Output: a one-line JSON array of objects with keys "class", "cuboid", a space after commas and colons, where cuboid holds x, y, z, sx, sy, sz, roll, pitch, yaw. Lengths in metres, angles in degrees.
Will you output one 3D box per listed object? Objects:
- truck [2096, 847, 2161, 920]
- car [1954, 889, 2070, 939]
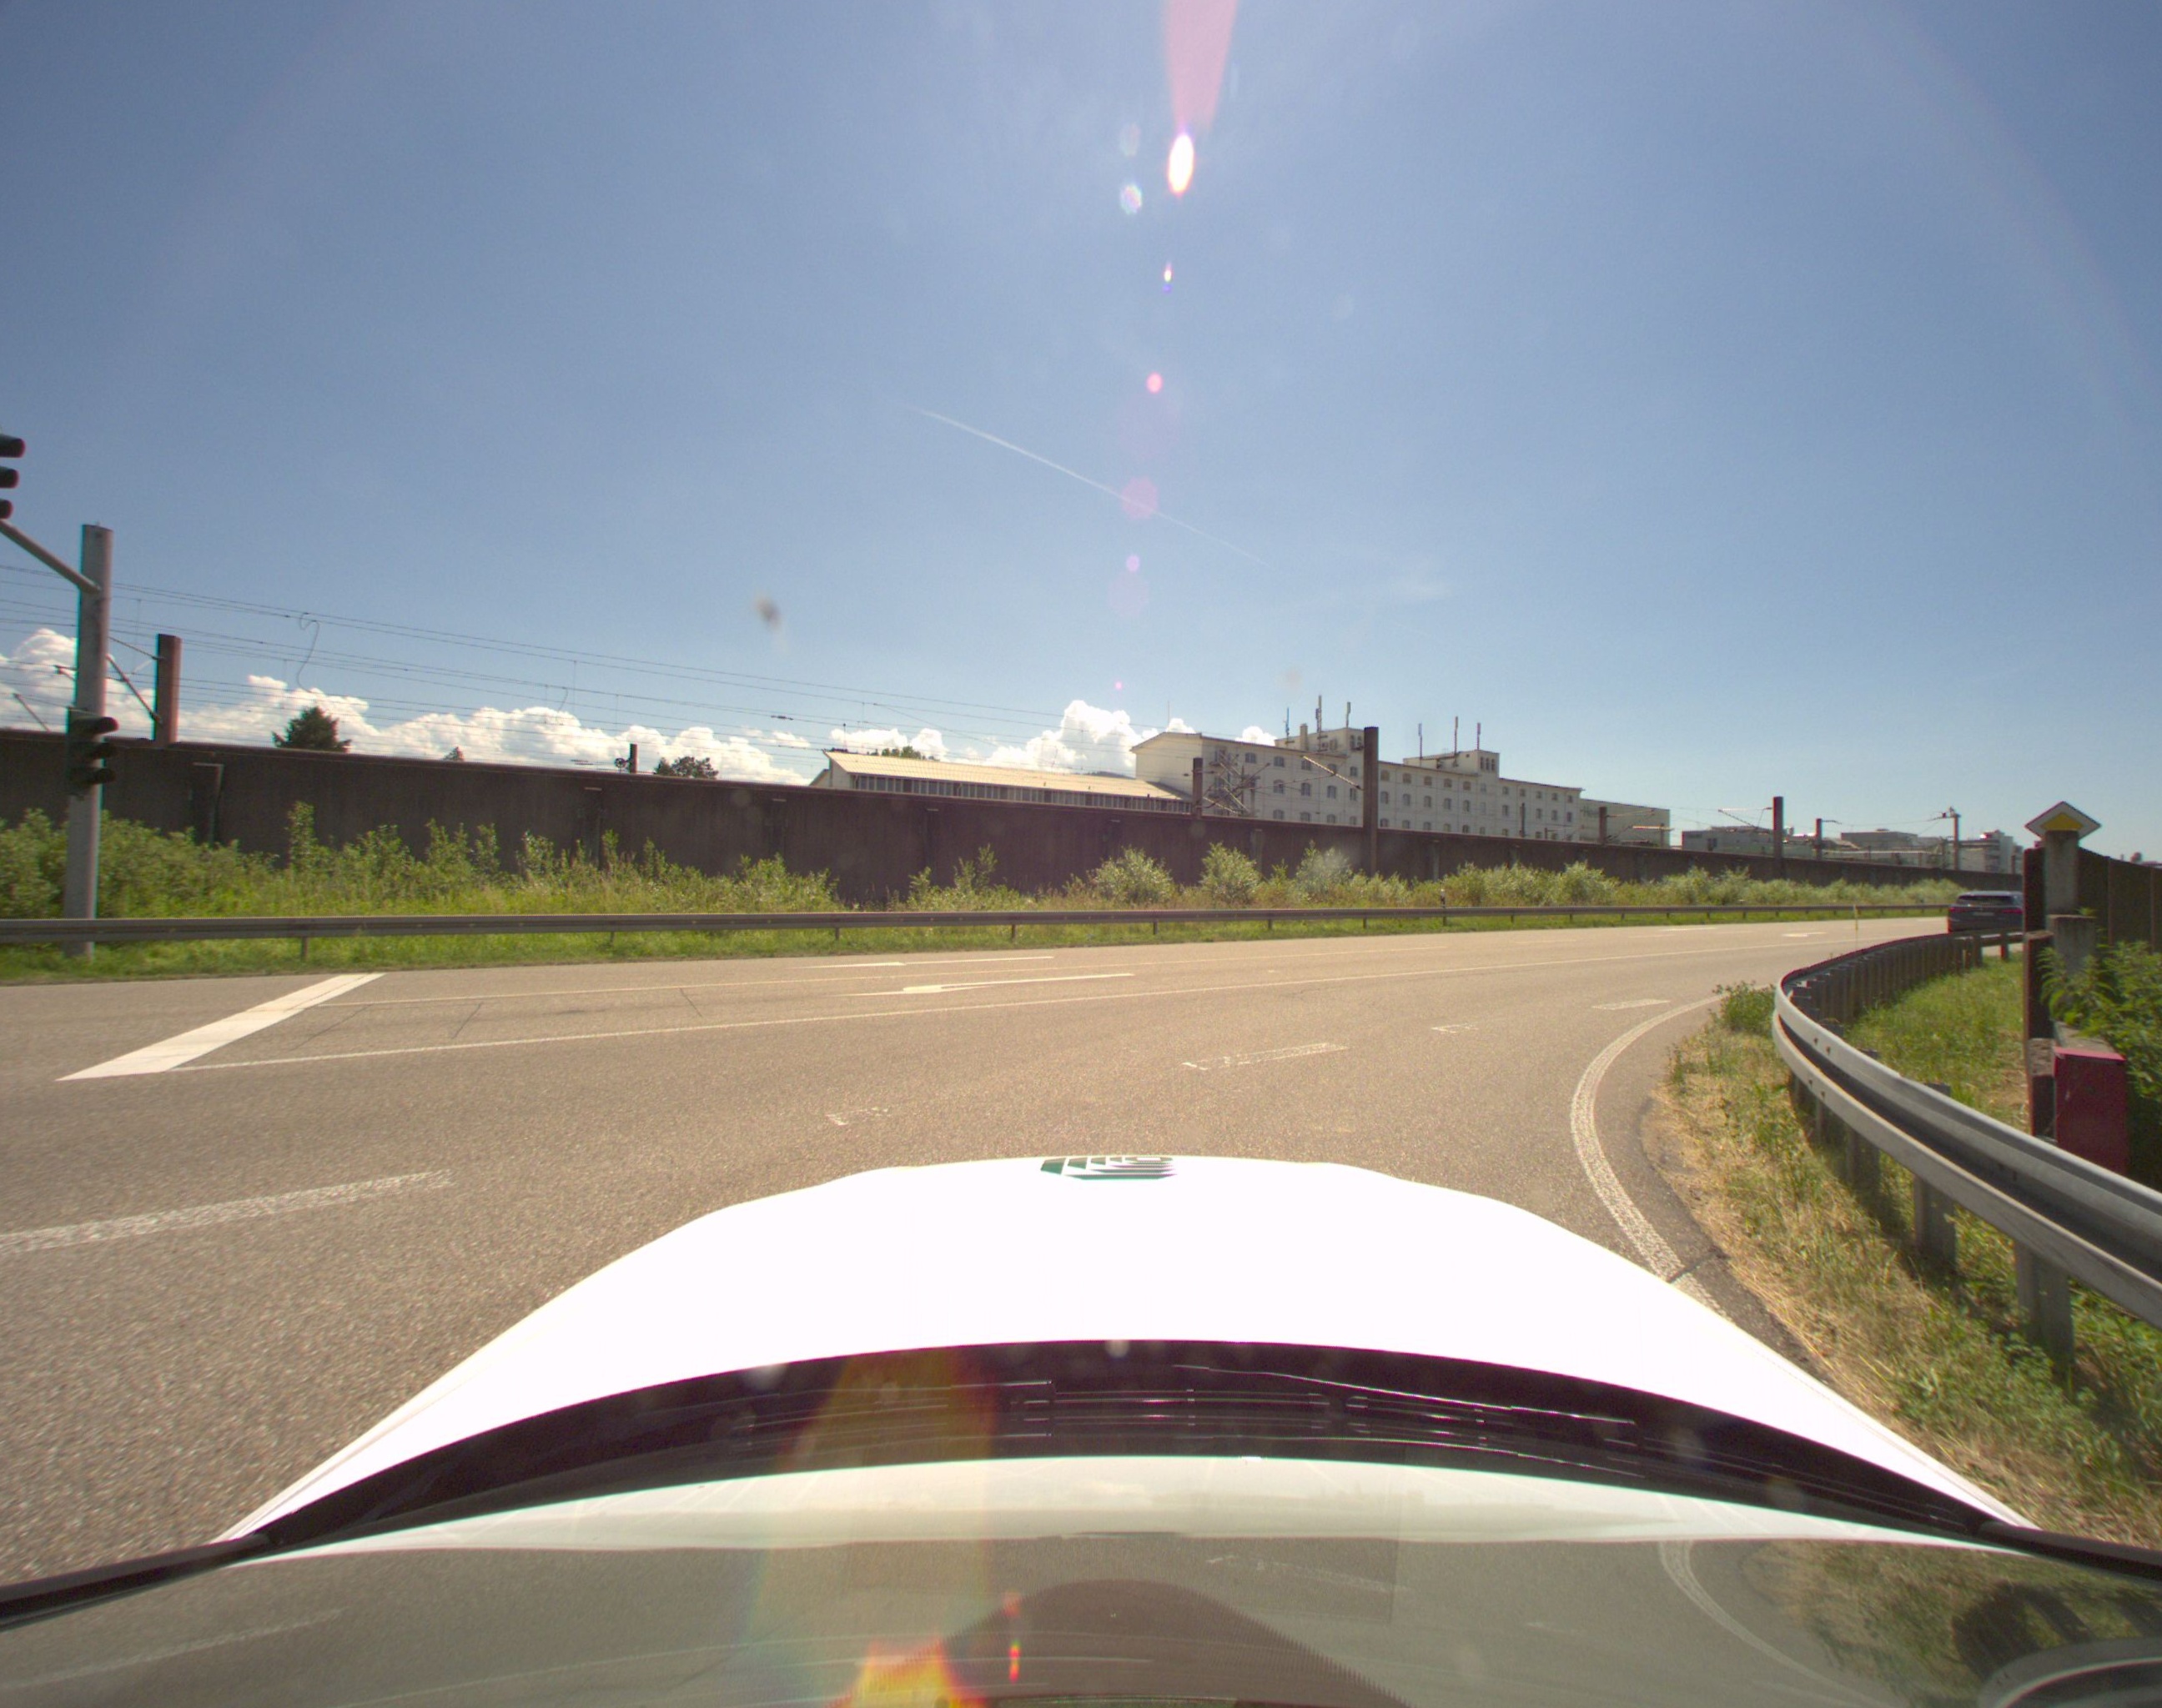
[{"class": "truck", "cuboid": [66.478, 1.956, 50.733, 11.851, 4.181, 2.974, 3, -3, -34]}, {"class": "car", "cuboid": [31.699, 2.042, 27.709, 4.013, 1.503, 1.980, 4, -3, -32]}]
